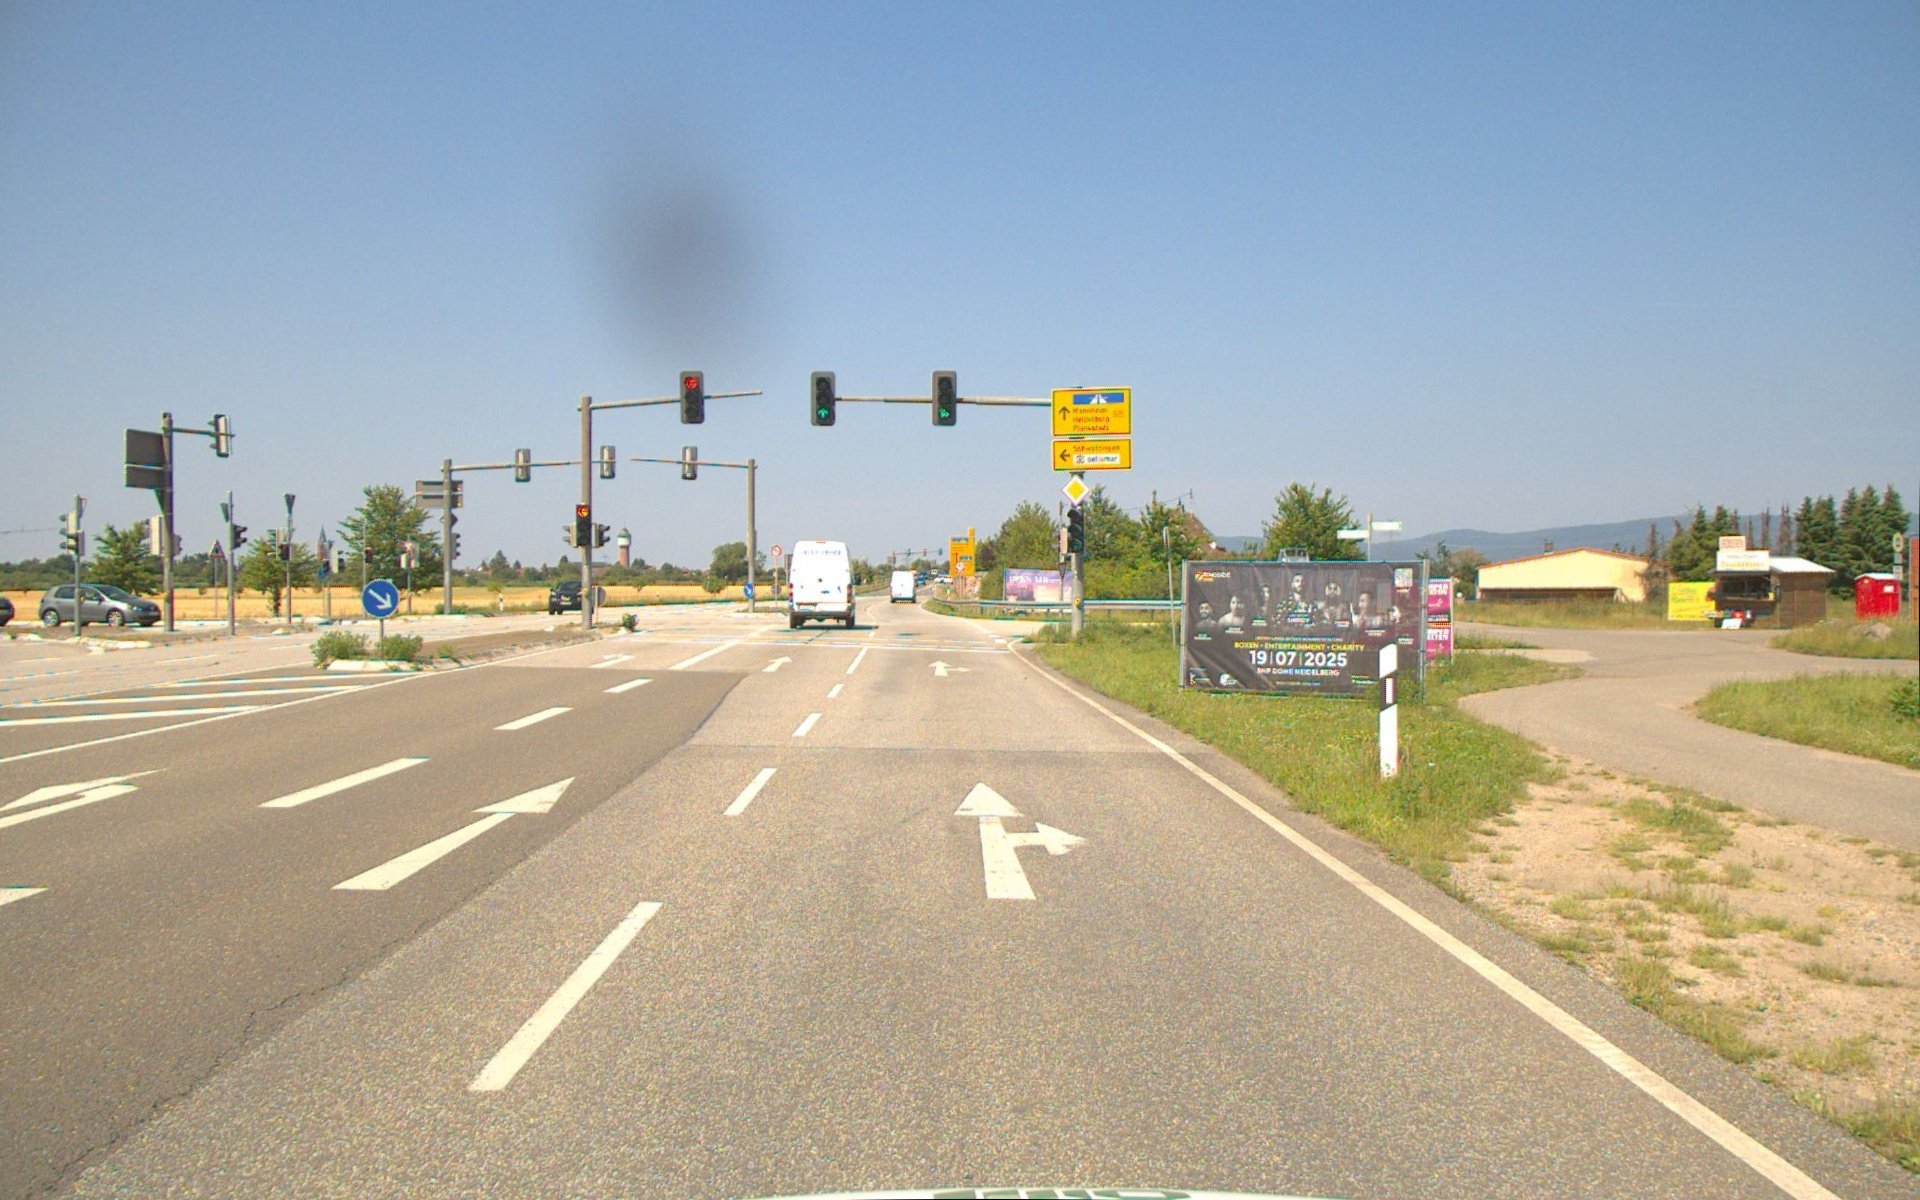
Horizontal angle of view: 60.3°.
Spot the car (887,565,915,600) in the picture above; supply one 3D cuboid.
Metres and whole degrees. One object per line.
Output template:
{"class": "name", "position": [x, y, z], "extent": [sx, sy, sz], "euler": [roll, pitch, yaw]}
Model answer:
{"class": "car", "position": [-4.783, -1.412, 134.948], "extent": [1.952, 2.742, 4.970], "euler": [1, -1, 2]}

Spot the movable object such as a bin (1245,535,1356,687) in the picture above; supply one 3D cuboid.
{"class": "movable object such as a bin", "position": [5.974, 0.177, 28.728], "extent": [1.489, 2.404, 4.427], "euler": [1, 0, 16]}

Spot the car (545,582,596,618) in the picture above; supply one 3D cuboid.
{"class": "car", "position": [-18.395, -0.025, 78.219], "extent": [1.795, 1.628, 4.300], "euler": [-1, 0, -6]}

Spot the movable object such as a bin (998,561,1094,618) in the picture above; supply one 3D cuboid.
{"class": "movable object such as a bin", "position": [3.794, -0.470, 73.061], "extent": [4.015, 2.372, 1.276], "euler": [1, 0, -6]}

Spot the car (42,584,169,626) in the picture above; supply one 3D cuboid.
{"class": "car", "position": [-30.068, 0.166, 58.232], "extent": [3.785, 1.411, 1.636], "euler": [0, 1, 12]}

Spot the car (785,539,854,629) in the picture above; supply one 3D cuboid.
{"class": "car", "position": [-4.402, -0.517, 52.556], "extent": [1.999, 2.665, 5.737], "euler": [1, 1, -3]}

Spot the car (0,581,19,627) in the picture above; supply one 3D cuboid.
{"class": "car", "position": [-36.152, 0.169, 59.280], "extent": [4.262, 1.622, 1.636], "euler": [-1, 0, 14]}
